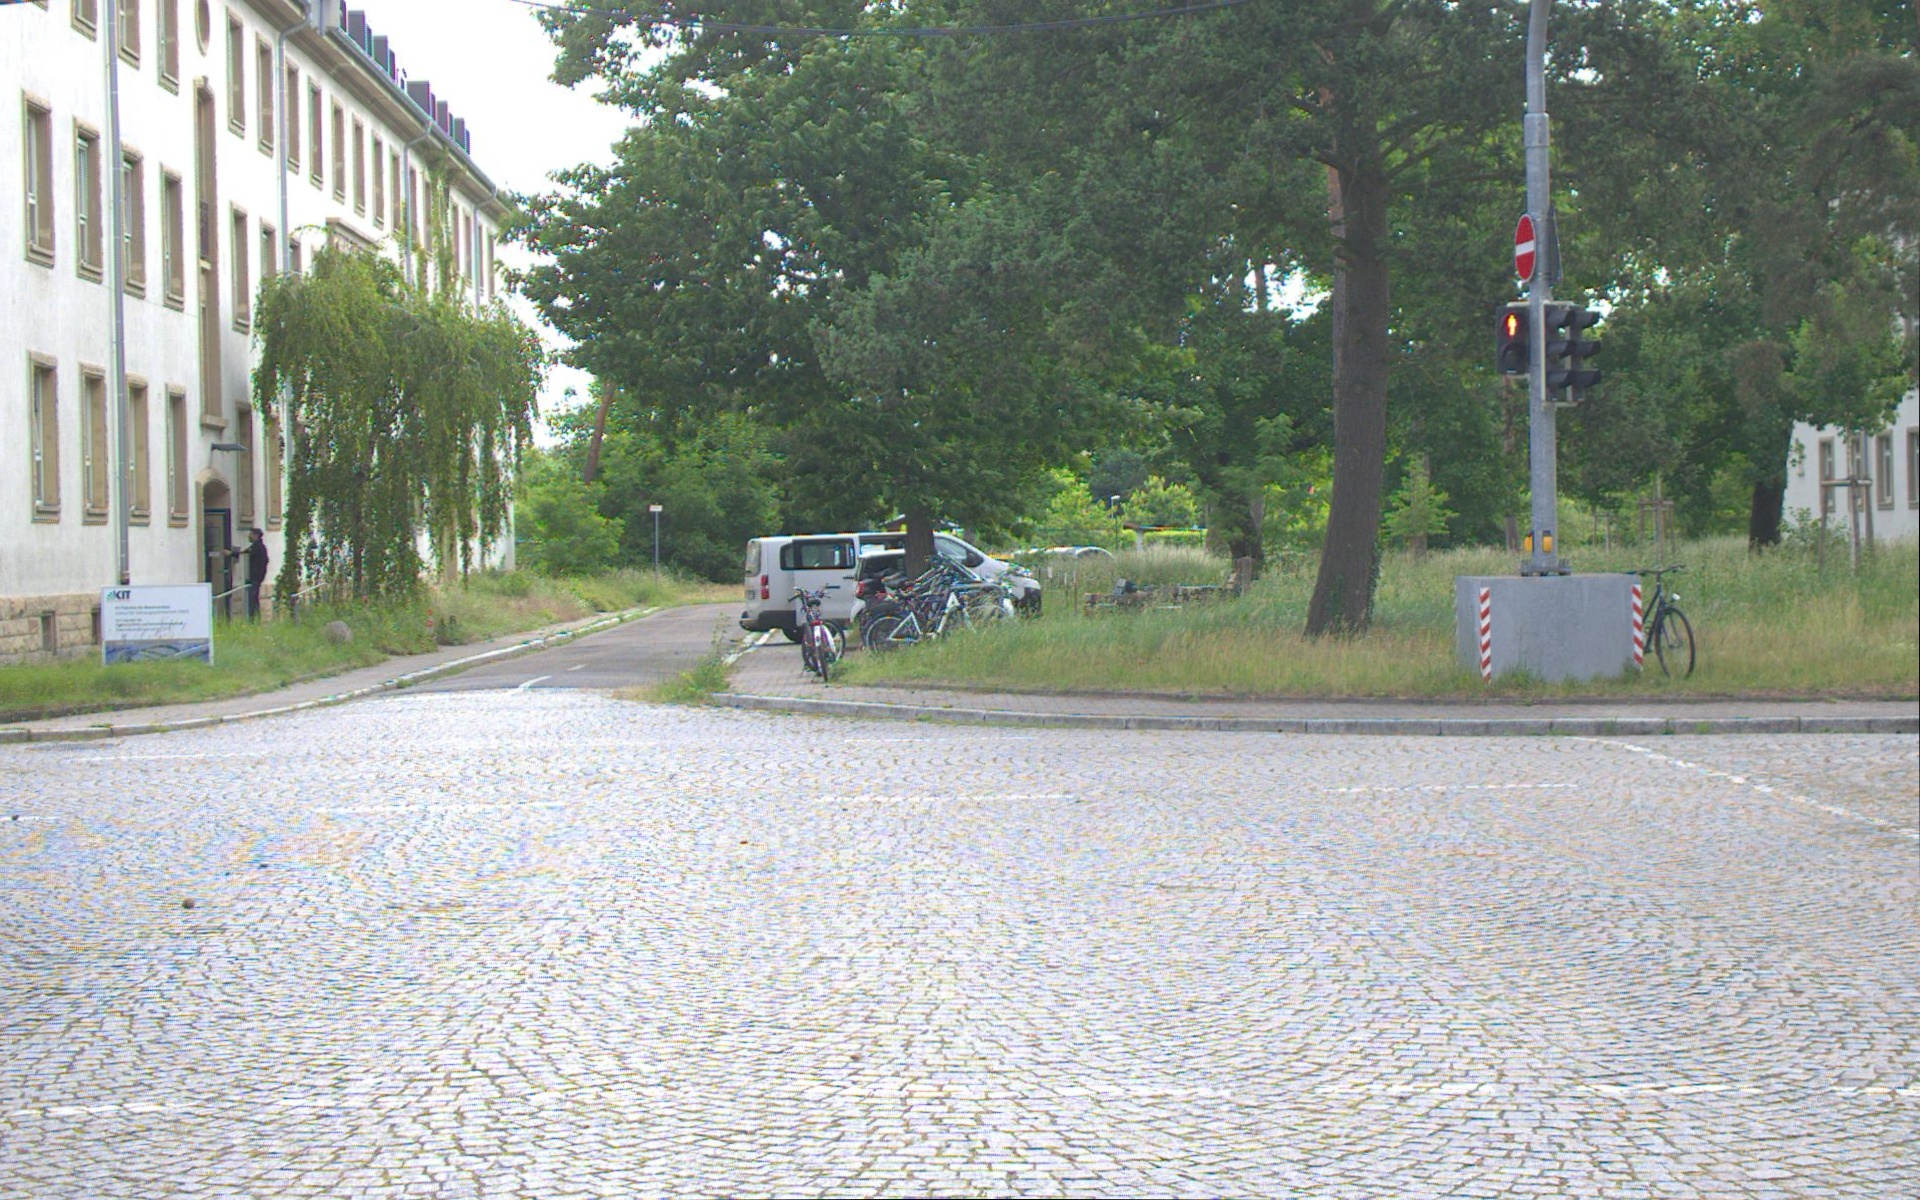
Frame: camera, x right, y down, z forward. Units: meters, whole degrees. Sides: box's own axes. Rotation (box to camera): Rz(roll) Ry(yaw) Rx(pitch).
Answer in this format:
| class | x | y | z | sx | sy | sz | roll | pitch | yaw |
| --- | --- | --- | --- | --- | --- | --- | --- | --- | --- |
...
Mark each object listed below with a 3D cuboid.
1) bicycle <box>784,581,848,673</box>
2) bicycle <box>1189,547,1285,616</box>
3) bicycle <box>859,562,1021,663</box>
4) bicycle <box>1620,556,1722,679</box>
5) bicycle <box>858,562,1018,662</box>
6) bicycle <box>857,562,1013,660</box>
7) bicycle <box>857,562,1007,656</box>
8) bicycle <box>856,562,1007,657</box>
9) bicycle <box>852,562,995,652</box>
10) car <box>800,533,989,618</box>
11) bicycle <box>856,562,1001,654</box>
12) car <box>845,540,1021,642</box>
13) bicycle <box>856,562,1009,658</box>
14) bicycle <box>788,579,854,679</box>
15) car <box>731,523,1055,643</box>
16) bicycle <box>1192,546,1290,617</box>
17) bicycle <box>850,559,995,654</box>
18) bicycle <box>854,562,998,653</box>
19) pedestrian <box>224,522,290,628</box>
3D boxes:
| class | x | y | z | sx | sy | sz | roll | pitch | yaw |
| --- | --- | --- | --- | --- | --- | --- | --- | --- | --- |
| bicycle | -1.719 | 0.314 | 41.271 | 0.622 | 1.079 | 1.677 | 0 | 1 | 3 |
| bicycle | 4.633 | -0.317 | 57.588 | 1.549 | 1.121 | 0.401 | -1 | 1 | 1 |
| bicycle | -0.258 | 0.149 | 42.715 | 1.982 | 1.243 | 0.624 | 0 | 0 | -3 |
| bicycle | 6.276 | 0.140 | 30.397 | 0.580 | 0.967 | 1.678 | -3 | 3 | 3 |
| bicycle | -0.281 | 0.143 | 43.344 | 1.982 | 1.243 | 0.624 | 0 | 0 | -3 |
| bicycle | -0.330 | 0.134 | 44.269 | 1.982 | 1.243 | 0.624 | 0 | 0 | -3 |
| bicycle | -0.383 | 0.114 | 46.287 | 1.982 | 1.243 | 0.624 | 0 | 0 | -3 |
| bicycle | -0.379 | 0.119 | 45.761 | 1.982 | 1.243 | 0.624 | 0 | 0 | -3 |
| bicycle | -0.516 | 0.094 | 48.370 | 1.982 | 1.243 | 0.624 | 0 | 0 | -3 |
| car | -1.443 | -0.533 | 74.686 | 4.031 | 1.712 | 1.681 | -1 | 1 | -2 |
| bicycle | -0.440 | 0.103 | 47.364 | 1.982 | 1.243 | 0.624 | 0 | 0 | -3 |
| car | -0.465 | -0.158 | 57.337 | 2.847 | 1.552 | 1.472 | -2 | 2 | -2 |
| bicycle | -0.362 | 0.126 | 45.128 | 1.982 | 1.243 | 0.624 | 0 | 0 | -3 |
| bicycle | -1.581 | 0.318 | 39.318 | 0.622 | 1.110 | 1.989 | 0 | 1 | 2 |
| car | -1.196 | -0.318 | 60.800 | 5.303 | 1.909 | 2.150 | -2 | 1 | -16 |
| bicycle | 4.601 | -0.302 | 56.356 | 1.549 | 1.121 | 0.401 | -1 | 1 | 1 |
| bicycle | -0.541 | 0.087 | 49.030 | 1.982 | 1.243 | 0.624 | -3 | 1 | -3 |
| bicycle | -0.481 | 0.098 | 47.877 | 1.982 | 1.243 | 0.624 | 0 | 0 | -3 |
| pedestrian | -11.949 | -0.429 | 58.434 | 0.837 | 1.775 | 0.941 | -1 | 1 | 4 |
